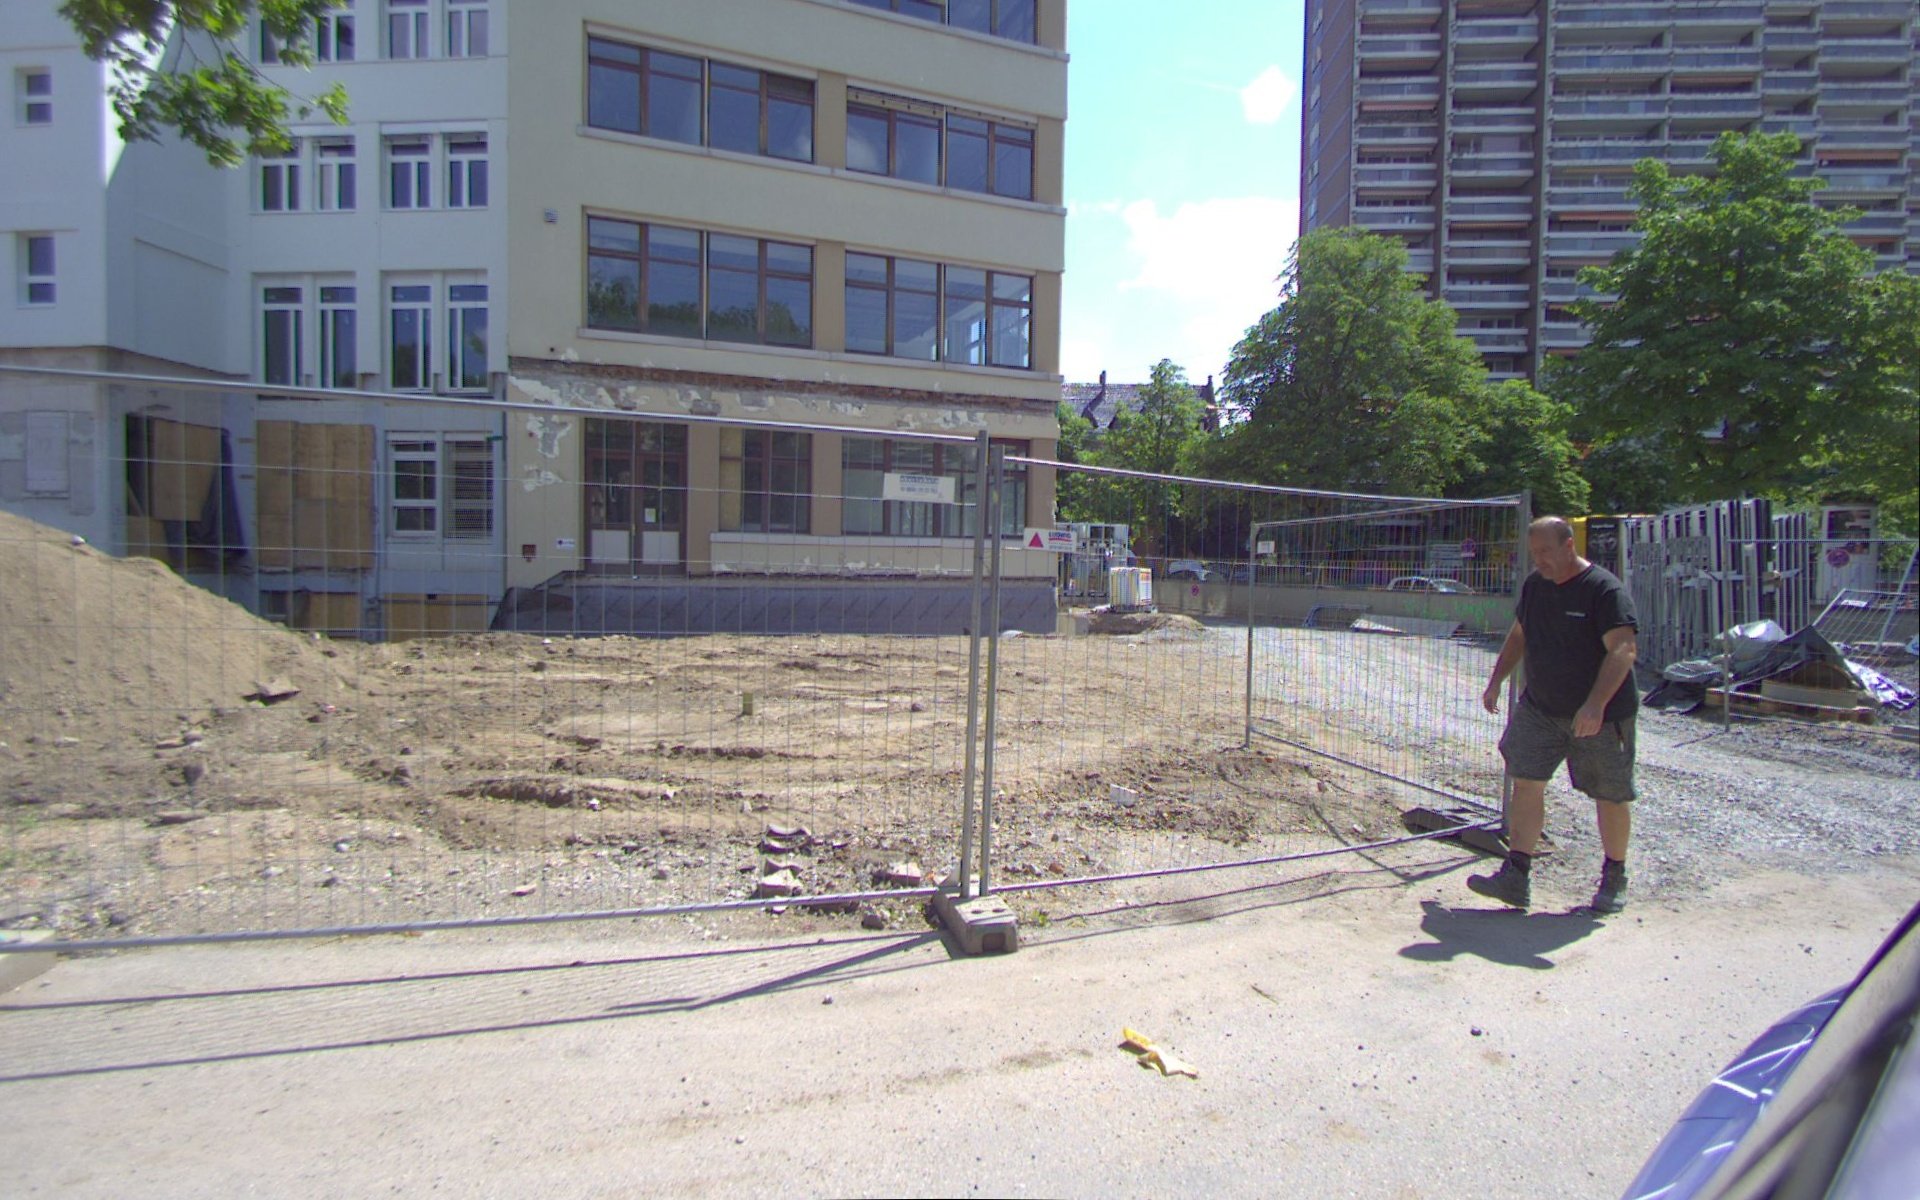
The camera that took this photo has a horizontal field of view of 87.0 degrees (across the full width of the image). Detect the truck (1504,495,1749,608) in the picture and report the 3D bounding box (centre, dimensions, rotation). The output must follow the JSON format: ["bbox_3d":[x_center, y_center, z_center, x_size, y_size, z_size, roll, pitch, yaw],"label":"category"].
[{"bbox_3d":[26.711,-1.931,41.449,2.695,4.055,9.760,0,2,-6],"label":"truck"}]

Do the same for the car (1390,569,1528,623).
[{"bbox_3d":[14.753,-0.154,30.140,1.588,1.457,3.592,1,2,-18],"label":"car"}]

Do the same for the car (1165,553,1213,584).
[{"bbox_3d":[15.815,-2.189,69.671,1.986,2.038,3.954,2,2,33],"label":"car"}]

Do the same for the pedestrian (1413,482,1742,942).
[{"bbox_3d":[2.803,0.434,4.646,0.948,1.842,0.872,0,2,-27],"label":"pedestrian"}]
